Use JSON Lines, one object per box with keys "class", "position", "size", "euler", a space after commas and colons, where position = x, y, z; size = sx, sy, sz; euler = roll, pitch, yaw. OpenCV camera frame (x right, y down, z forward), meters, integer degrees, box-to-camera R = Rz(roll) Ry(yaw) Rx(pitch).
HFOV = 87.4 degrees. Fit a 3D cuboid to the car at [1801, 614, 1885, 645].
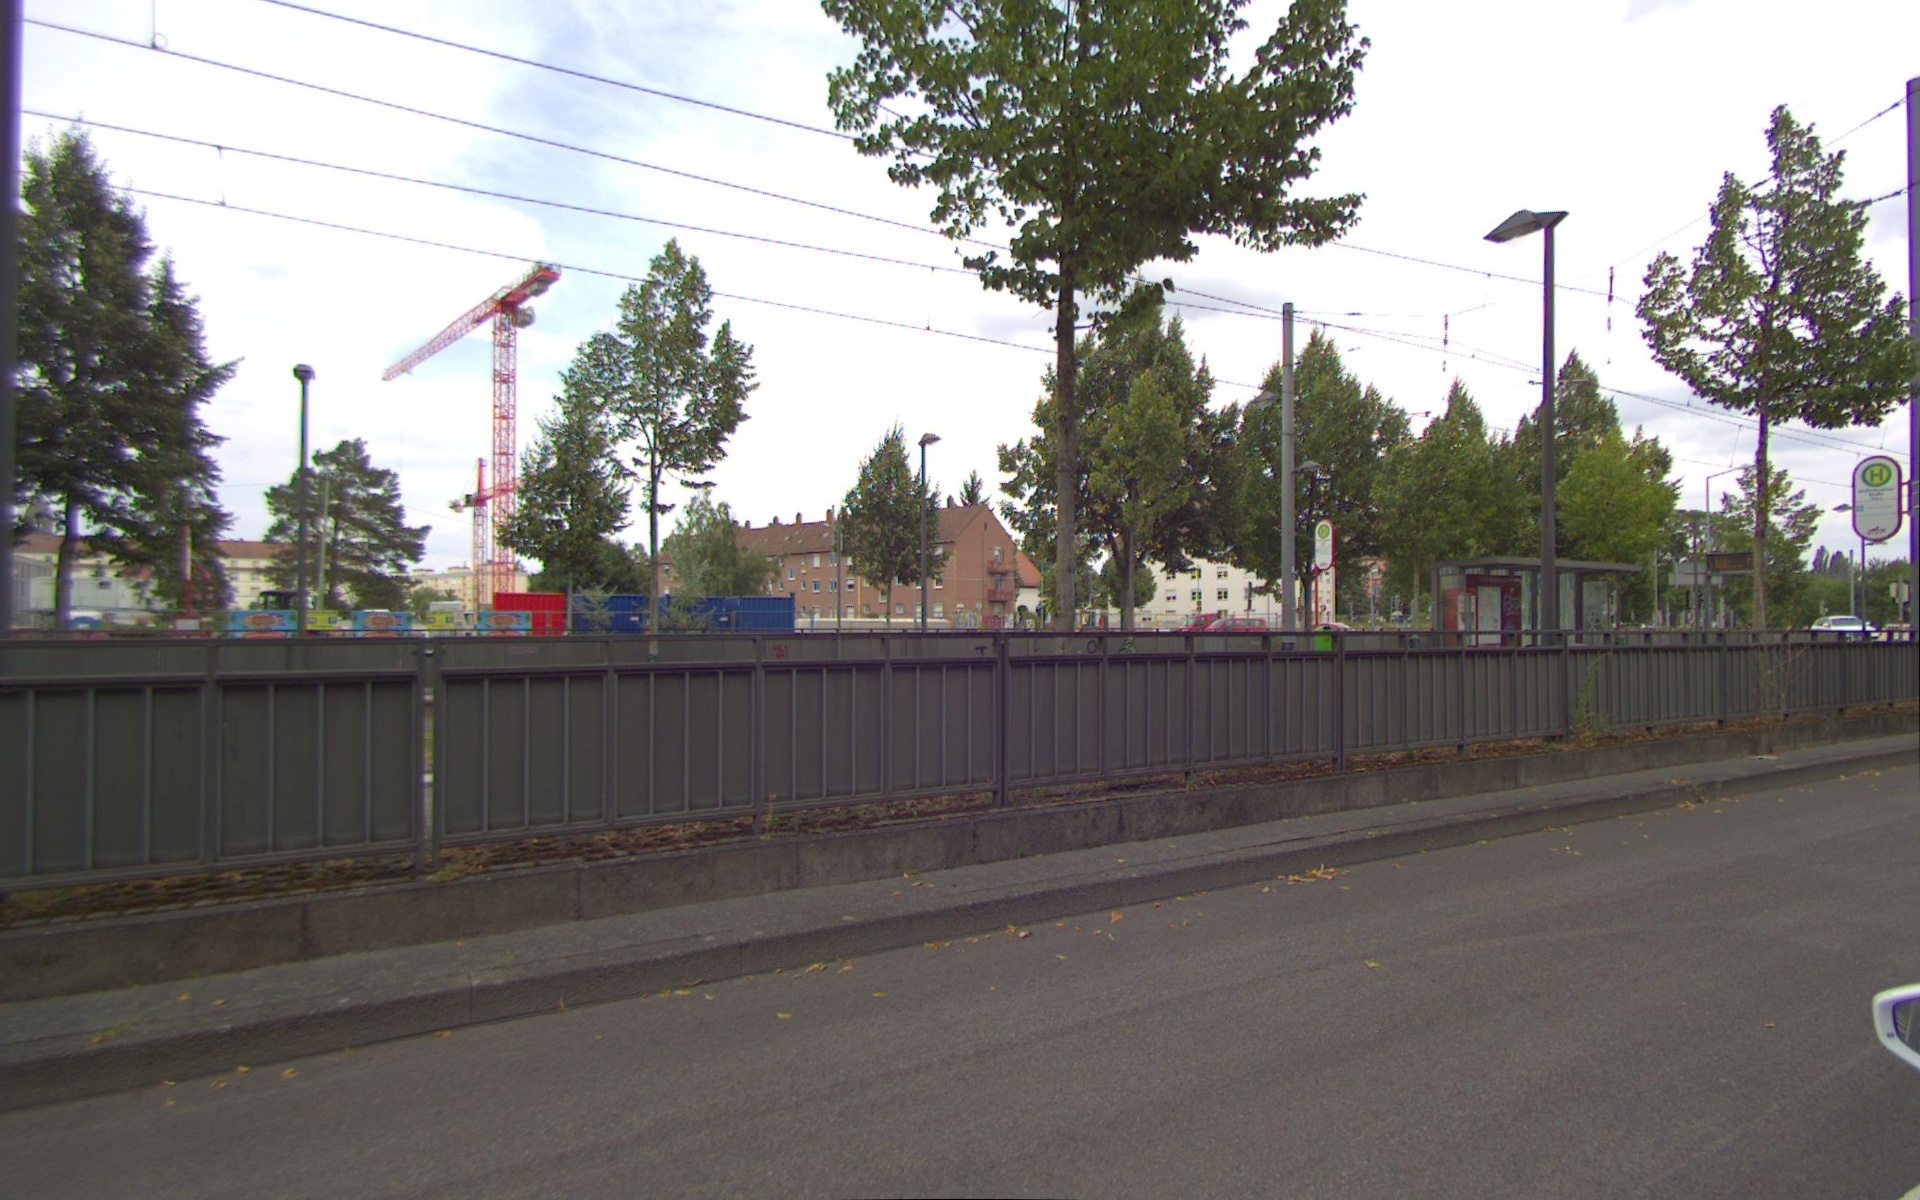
{"class": "car", "position": [48.638, 1.585, 55.428], "size": [1.960, 1.639, 4.385], "euler": [0, -1, 19]}
